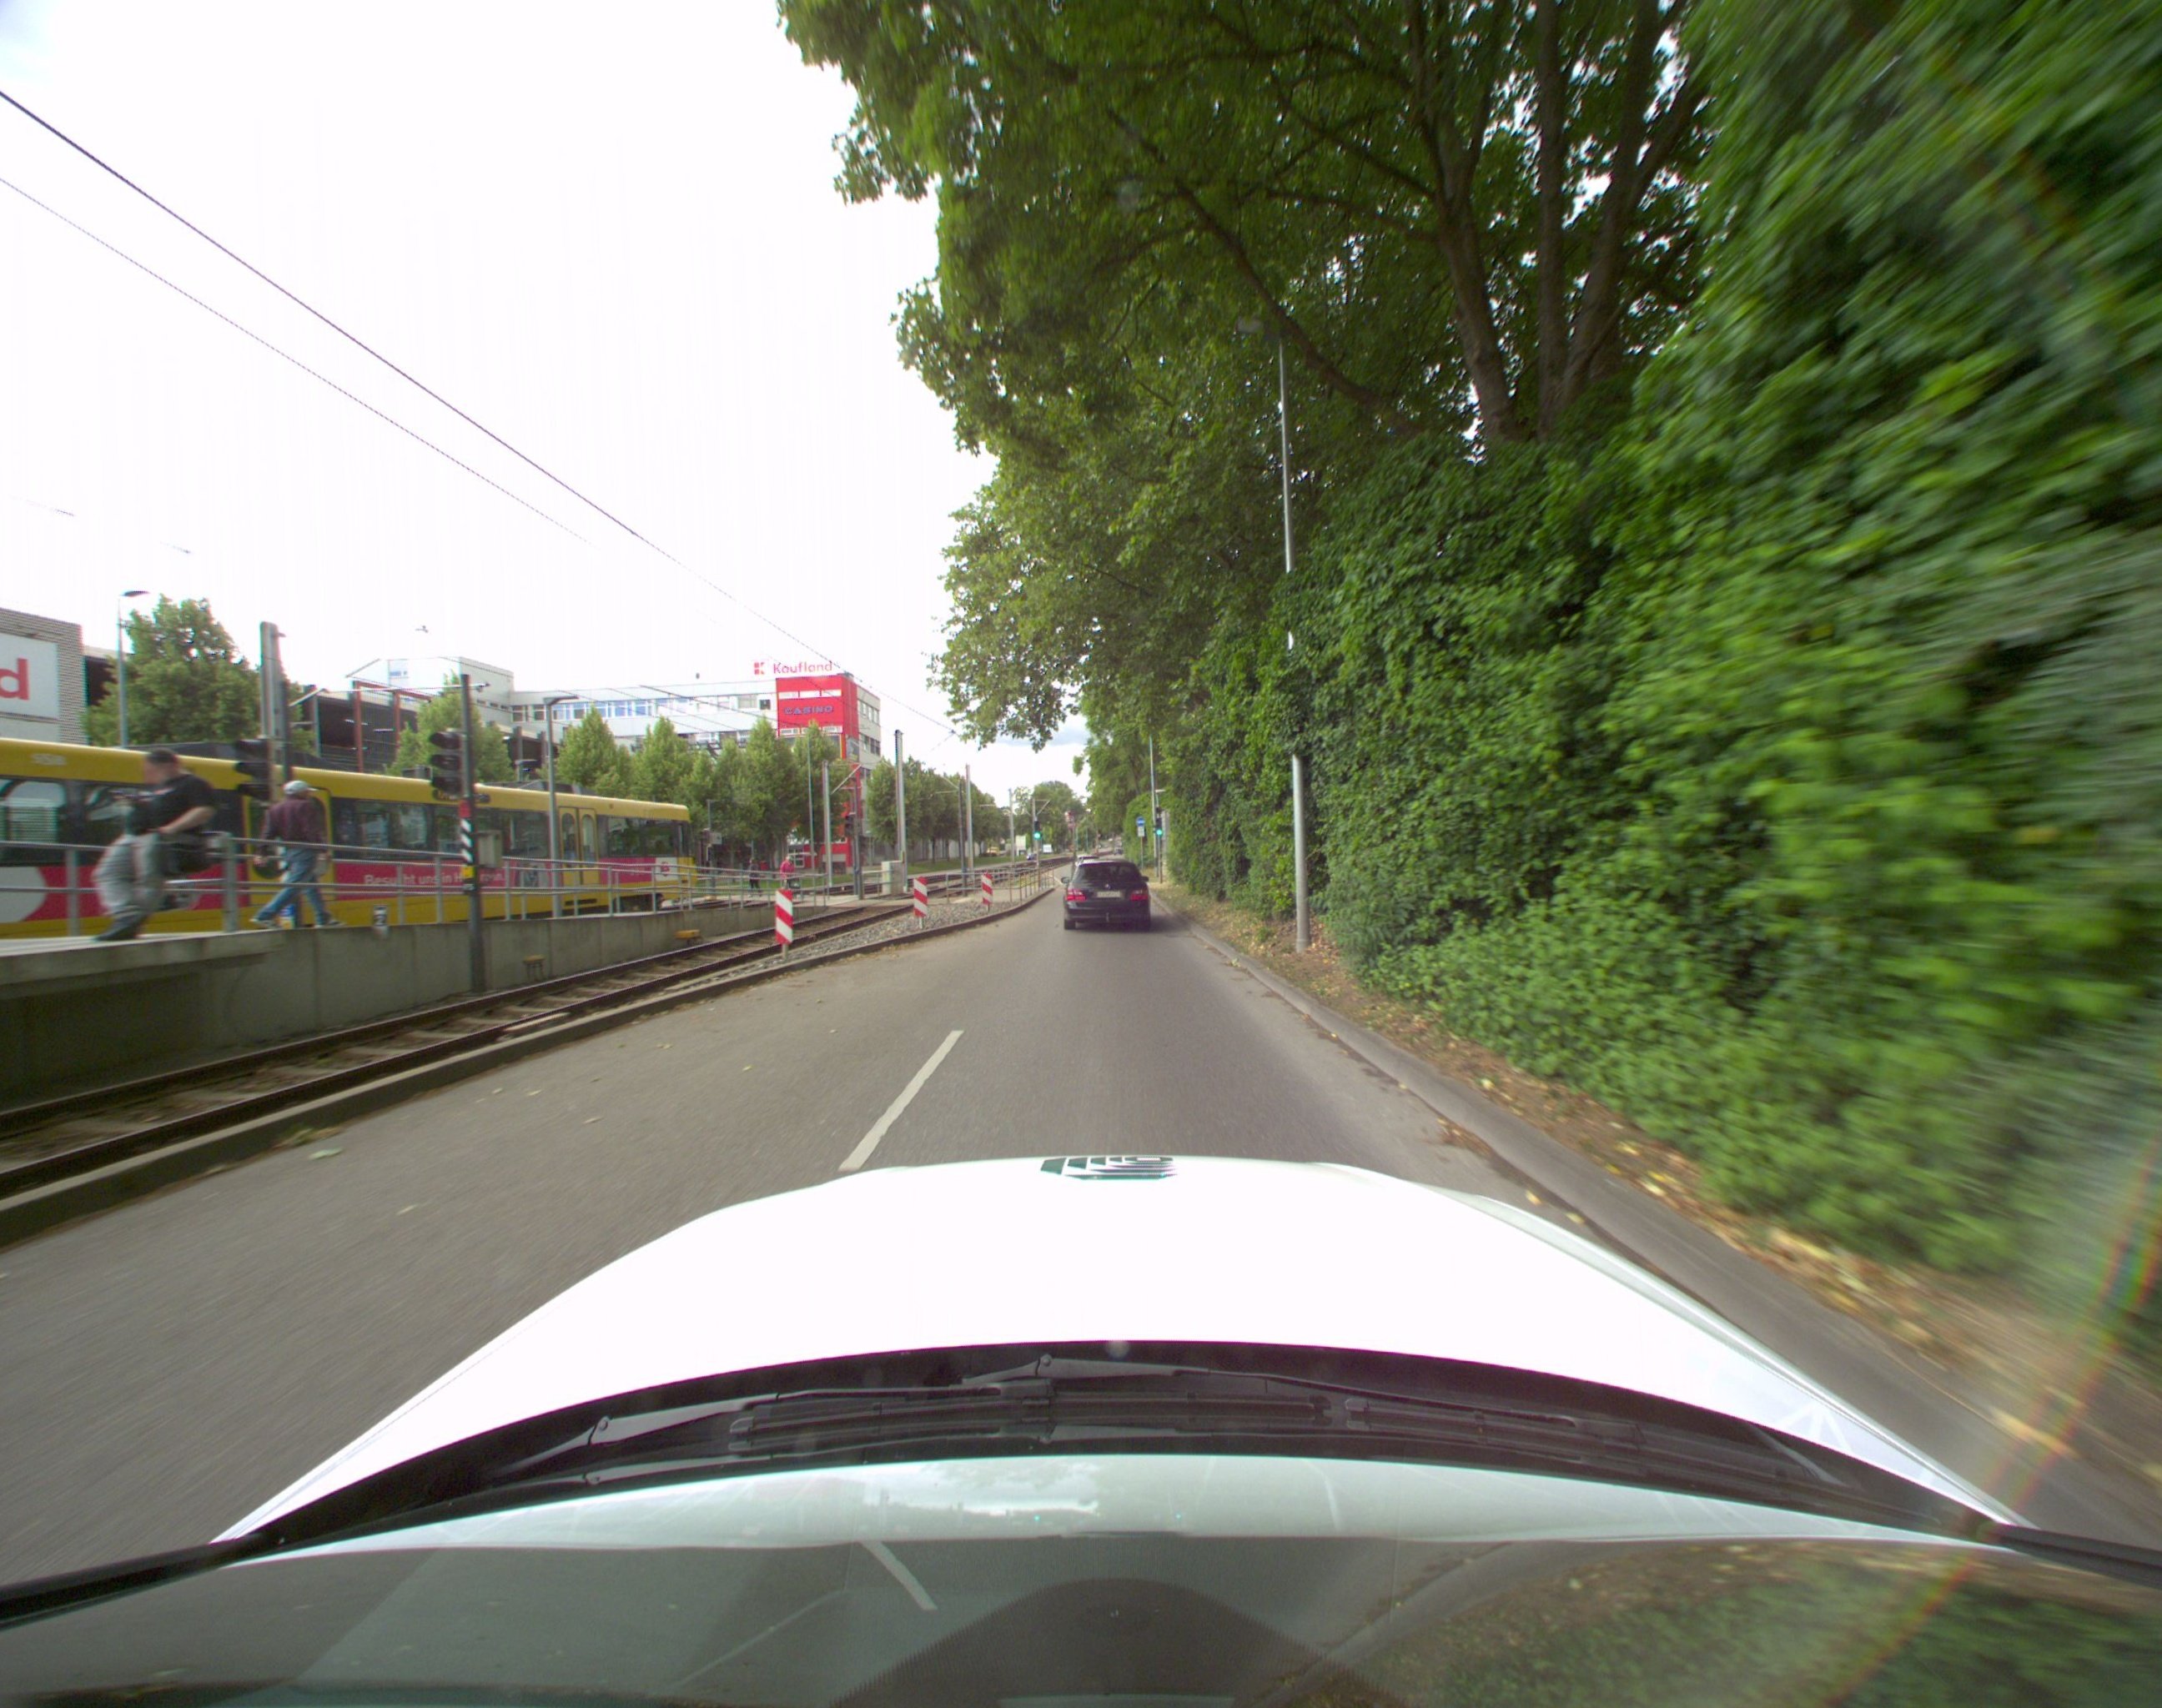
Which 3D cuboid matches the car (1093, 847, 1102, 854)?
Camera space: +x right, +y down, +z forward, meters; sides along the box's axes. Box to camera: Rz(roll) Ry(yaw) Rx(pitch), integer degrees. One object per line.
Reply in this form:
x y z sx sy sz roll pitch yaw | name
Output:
3.768 -0.748 183.222 1.817 1.530 3.990 -1 1 3 | car

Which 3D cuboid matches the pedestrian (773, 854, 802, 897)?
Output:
-11.660 0.844 32.385 0.607 1.654 0.800 -4 0 23 | pedestrian

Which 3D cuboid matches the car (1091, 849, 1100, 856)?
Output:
3.165 -0.318 178.344 1.817 1.530 3.990 -1 1 3 | car

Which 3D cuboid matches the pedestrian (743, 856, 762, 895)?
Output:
-14.194 0.935 35.214 0.513 1.662 0.467 -4 0 12 | pedestrian

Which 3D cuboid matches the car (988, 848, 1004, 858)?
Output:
-16.469 -0.185 158.656 1.983 1.743 4.996 -3 0 6 | car

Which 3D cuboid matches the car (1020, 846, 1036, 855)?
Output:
-13.634 -0.860 209.702 3.978 2.123 1.998 -4 0 -3 | car

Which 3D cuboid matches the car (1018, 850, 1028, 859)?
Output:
-13.474 0.083 189.121 1.986 2.013 4.001 -4 0 1 | car

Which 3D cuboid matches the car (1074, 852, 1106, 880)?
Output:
0.558 0.657 48.631 1.818 1.530 4.417 -1 1 1 | car

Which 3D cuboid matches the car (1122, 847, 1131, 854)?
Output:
10.259 -0.866 184.065 1.817 1.530 4.183 -1 1 3 | car

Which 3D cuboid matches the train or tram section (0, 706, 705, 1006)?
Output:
-14.663 0.015 18.033 2.744 3.828 18.651 -2 0 4 | train or tram section

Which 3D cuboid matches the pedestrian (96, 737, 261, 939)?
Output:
-8.037 -0.137 7.305 0.881 1.678 0.736 -3 0 -45 | pedestrian

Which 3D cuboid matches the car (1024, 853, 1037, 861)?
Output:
-8.893 0.484 144.565 1.651 1.393 3.726 -2 0 7 | car

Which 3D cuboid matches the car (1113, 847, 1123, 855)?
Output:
7.669 -0.624 168.801 1.817 1.530 4.420 -2 0 4 | car

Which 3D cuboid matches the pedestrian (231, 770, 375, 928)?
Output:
-8.804 -0.053 9.254 0.768 1.678 0.791 -4 0 1 | pedestrian

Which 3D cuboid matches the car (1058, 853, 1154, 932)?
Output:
0.586 0.741 18.014 1.826 1.478 4.419 -1 0 3 | car

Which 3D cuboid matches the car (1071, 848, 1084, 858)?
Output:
-0.628 -0.159 134.369 1.817 1.530 3.931 -1 1 3 | car

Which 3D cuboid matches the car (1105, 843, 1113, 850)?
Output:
7.663 -2.055 223.171 1.884 2.013 3.900 -4 0 2 | car

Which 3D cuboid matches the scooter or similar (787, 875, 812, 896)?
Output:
-11.123 1.247 32.169 0.491 0.768 0.803 -4 0 23 | scooter or similar
